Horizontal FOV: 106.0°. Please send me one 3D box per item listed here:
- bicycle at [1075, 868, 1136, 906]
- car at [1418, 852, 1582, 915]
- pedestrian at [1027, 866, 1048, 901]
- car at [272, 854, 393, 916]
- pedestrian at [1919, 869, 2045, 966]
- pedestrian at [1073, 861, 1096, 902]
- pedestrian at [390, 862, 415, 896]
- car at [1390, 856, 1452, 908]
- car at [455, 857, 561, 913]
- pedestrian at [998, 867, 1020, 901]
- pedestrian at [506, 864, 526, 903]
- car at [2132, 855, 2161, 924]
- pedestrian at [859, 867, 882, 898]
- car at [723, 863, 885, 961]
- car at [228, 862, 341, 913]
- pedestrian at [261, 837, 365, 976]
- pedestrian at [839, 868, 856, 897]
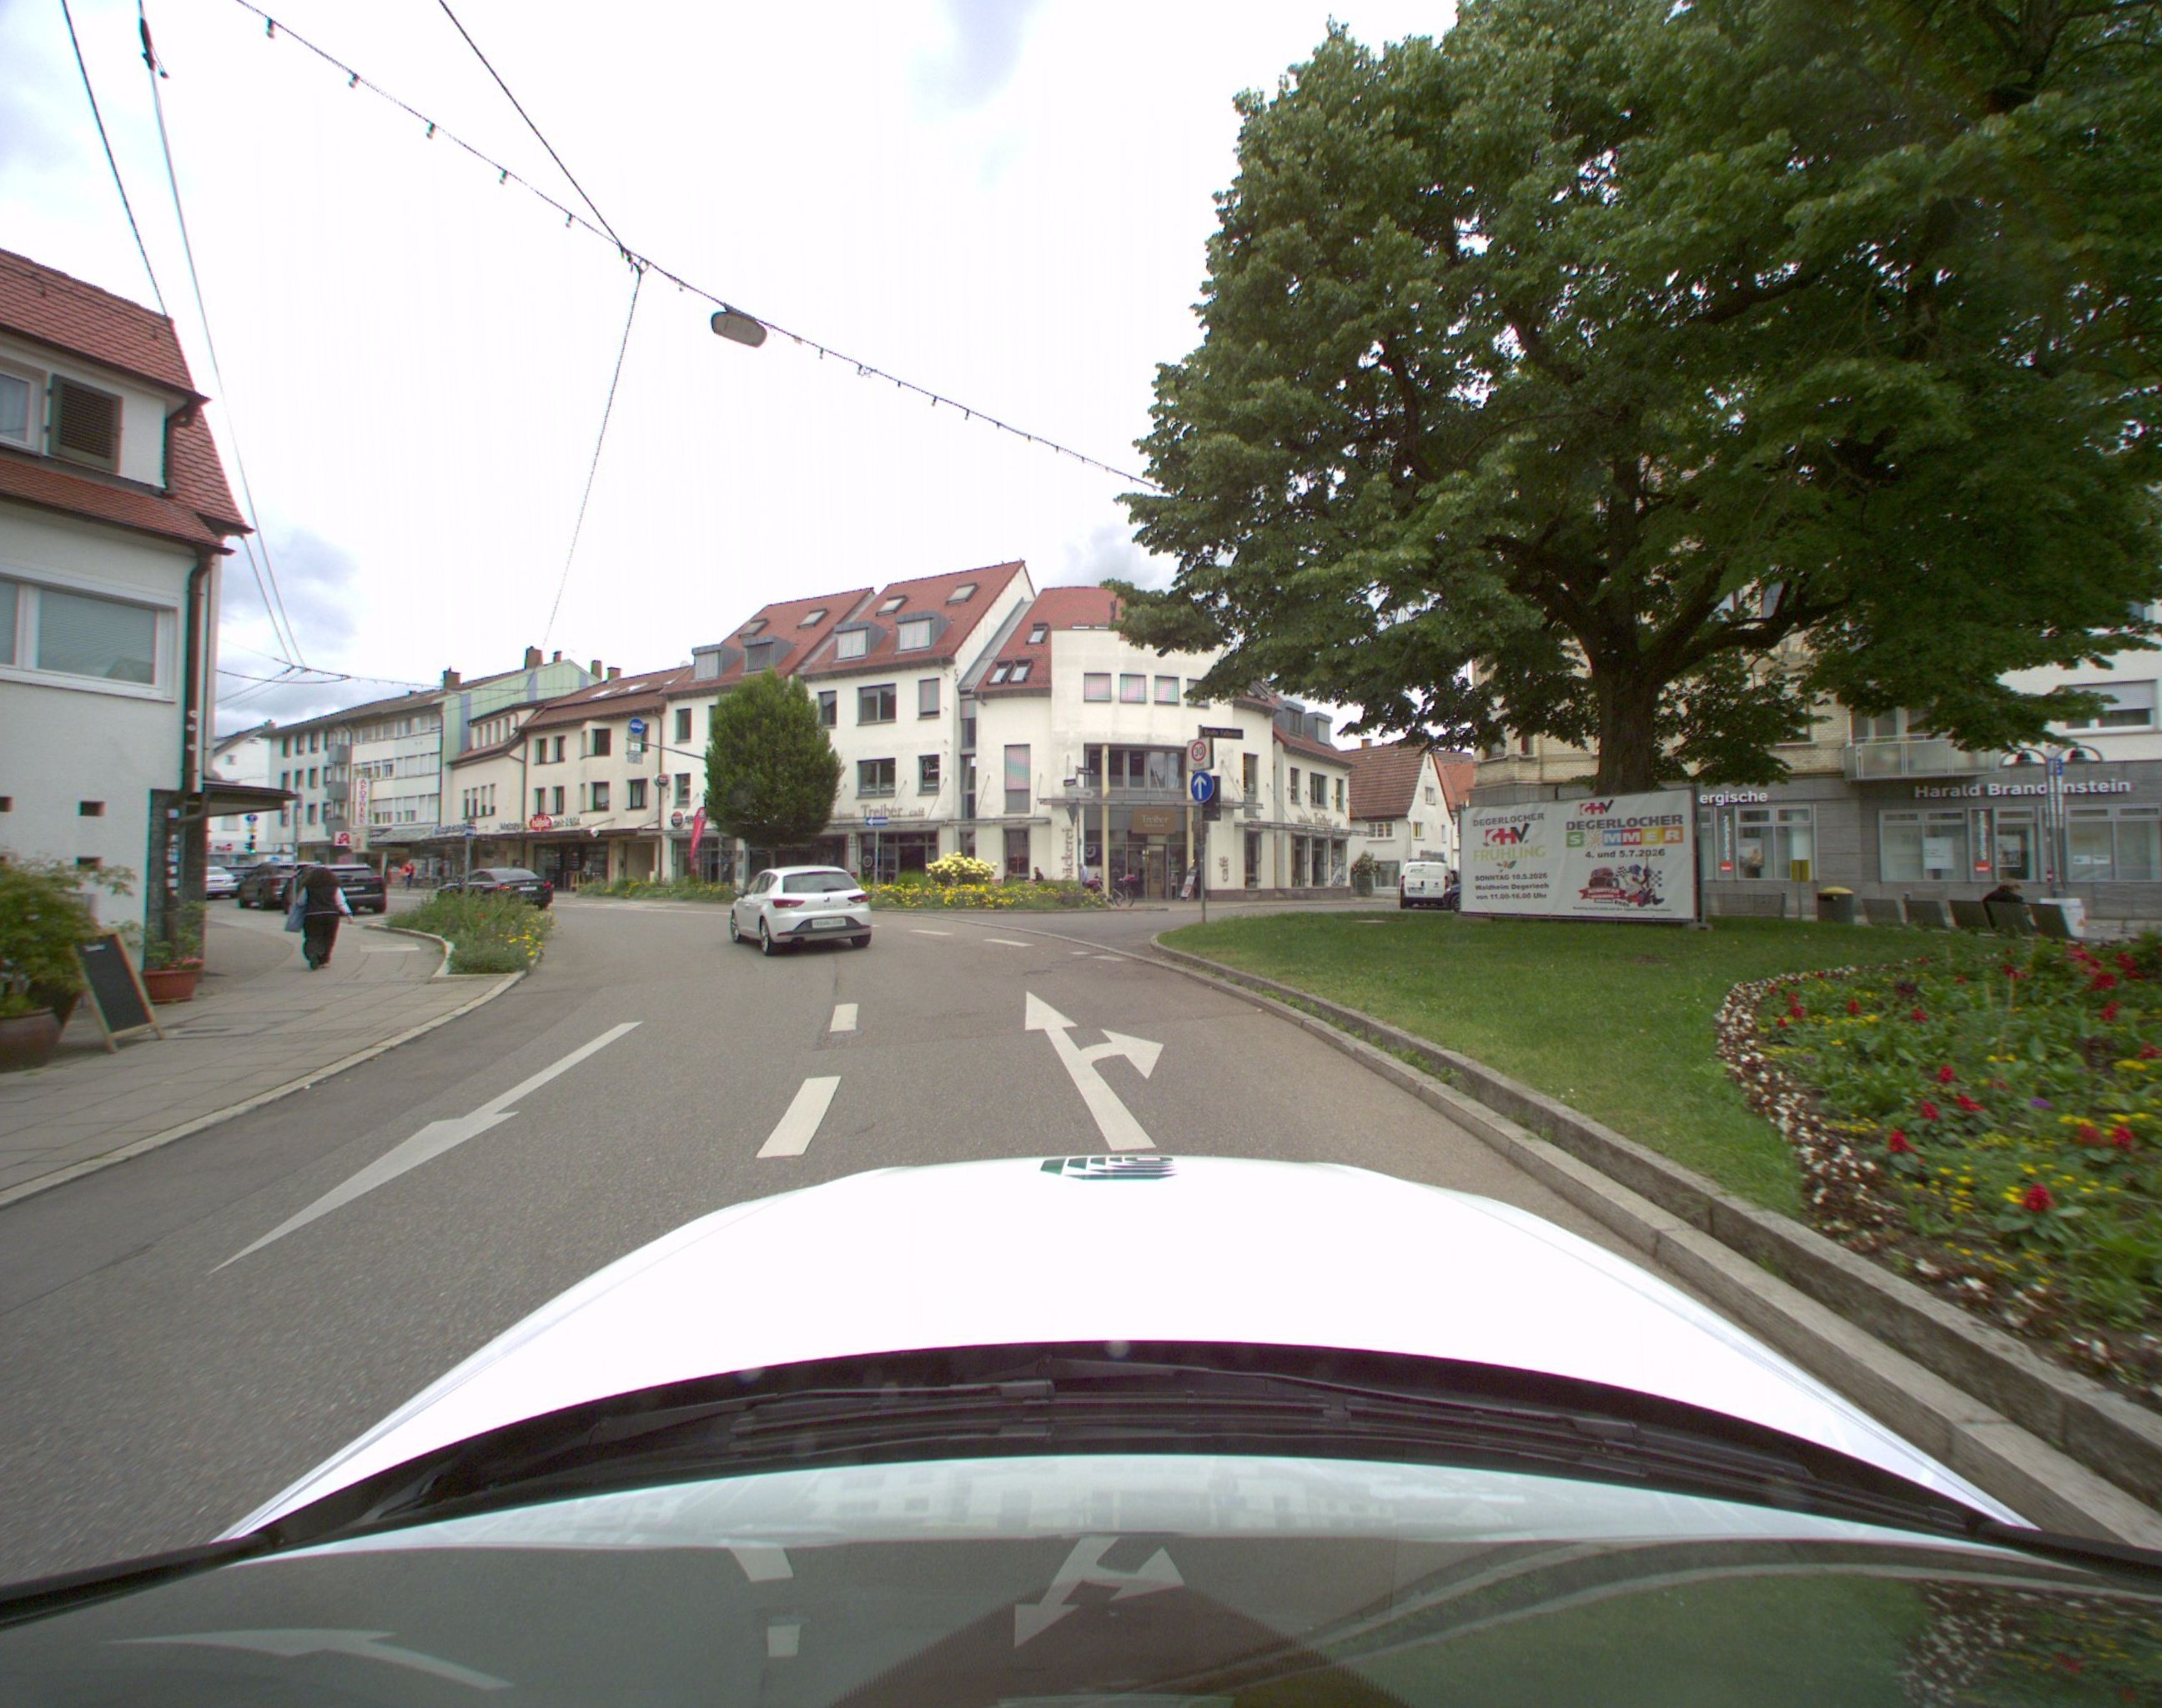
[{"bbox_3d":[0.840,1.124,27.865,1.957,1.240,0.748,0,-1,22],"label":"bicycle"},{"bbox_3d":[12.465,0.870,24.447,1.869,1.704,3.980,3,-2,-33],"label":"car"},{"bbox_3d":[-1.719,1.165,32.089,0.651,1.341,0.698,-1,-1,10],"label":"pedestrian"},{"bbox_3d":[-24.221,0.978,26.342,3.948,1.854,2.013,-1,-1,34],"label":"car"},{"bbox_3d":[13.577,0.927,12.307,0.849,1.380,0.978,0,-1,10],"label":"pedestrian"},{"bbox_3d":[0.142,1.037,31.072,0.696,1.525,0.870,-1,-1,10],"label":"pedestrian"},{"bbox_3d":[-40.116,1.478,48.156,1.036,2.014,0.885,0,-1,-44],"label":"pedestrian"},{"bbox_3d":[12.740,1.037,30.390,1.809,1.792,4.243,0,-2,27],"label":"car"},{"bbox_3d":[-19.014,0.963,26.964,4.319,1.675,2.054,0,0,44],"label":"car"},{"bbox_3d":[-2.852,1.188,32.380,0.696,1.332,0.686,-1,-1,10],"label":"pedestrian"},{"bbox_3d":[-29.996,1.568,43.226,0.627,2.014,0.674,-1,-1,27],"label":"pedestrian"},{"bbox_3d":[26.326,0.829,17.387,4.334,1.547,2.134,1,0,18],"label":"car"},{"bbox_3d":[-8.951,1.212,34.714,0.561,1.318,0.768,-1,-3,23],"label":"pedestrian"},{"bbox_3d":[-5.159,0.926,14.854,1.857,1.434,3.958,0,1,-34],"label":"car"},{"bbox_3d":[-29.272,1.208,29.903,4.370,1.732,2.013,-1,-1,32],"label":"car"},{"bbox_3d":[-11.799,0.761,12.541,1.112,2.014,1.001,0,-1,-43],"label":"pedestrian"},{"bbox_3d":[-10.102,1.233,35.249,0.486,1.271,0.504,-1,-1,23],"label":"pedestrian"}]
